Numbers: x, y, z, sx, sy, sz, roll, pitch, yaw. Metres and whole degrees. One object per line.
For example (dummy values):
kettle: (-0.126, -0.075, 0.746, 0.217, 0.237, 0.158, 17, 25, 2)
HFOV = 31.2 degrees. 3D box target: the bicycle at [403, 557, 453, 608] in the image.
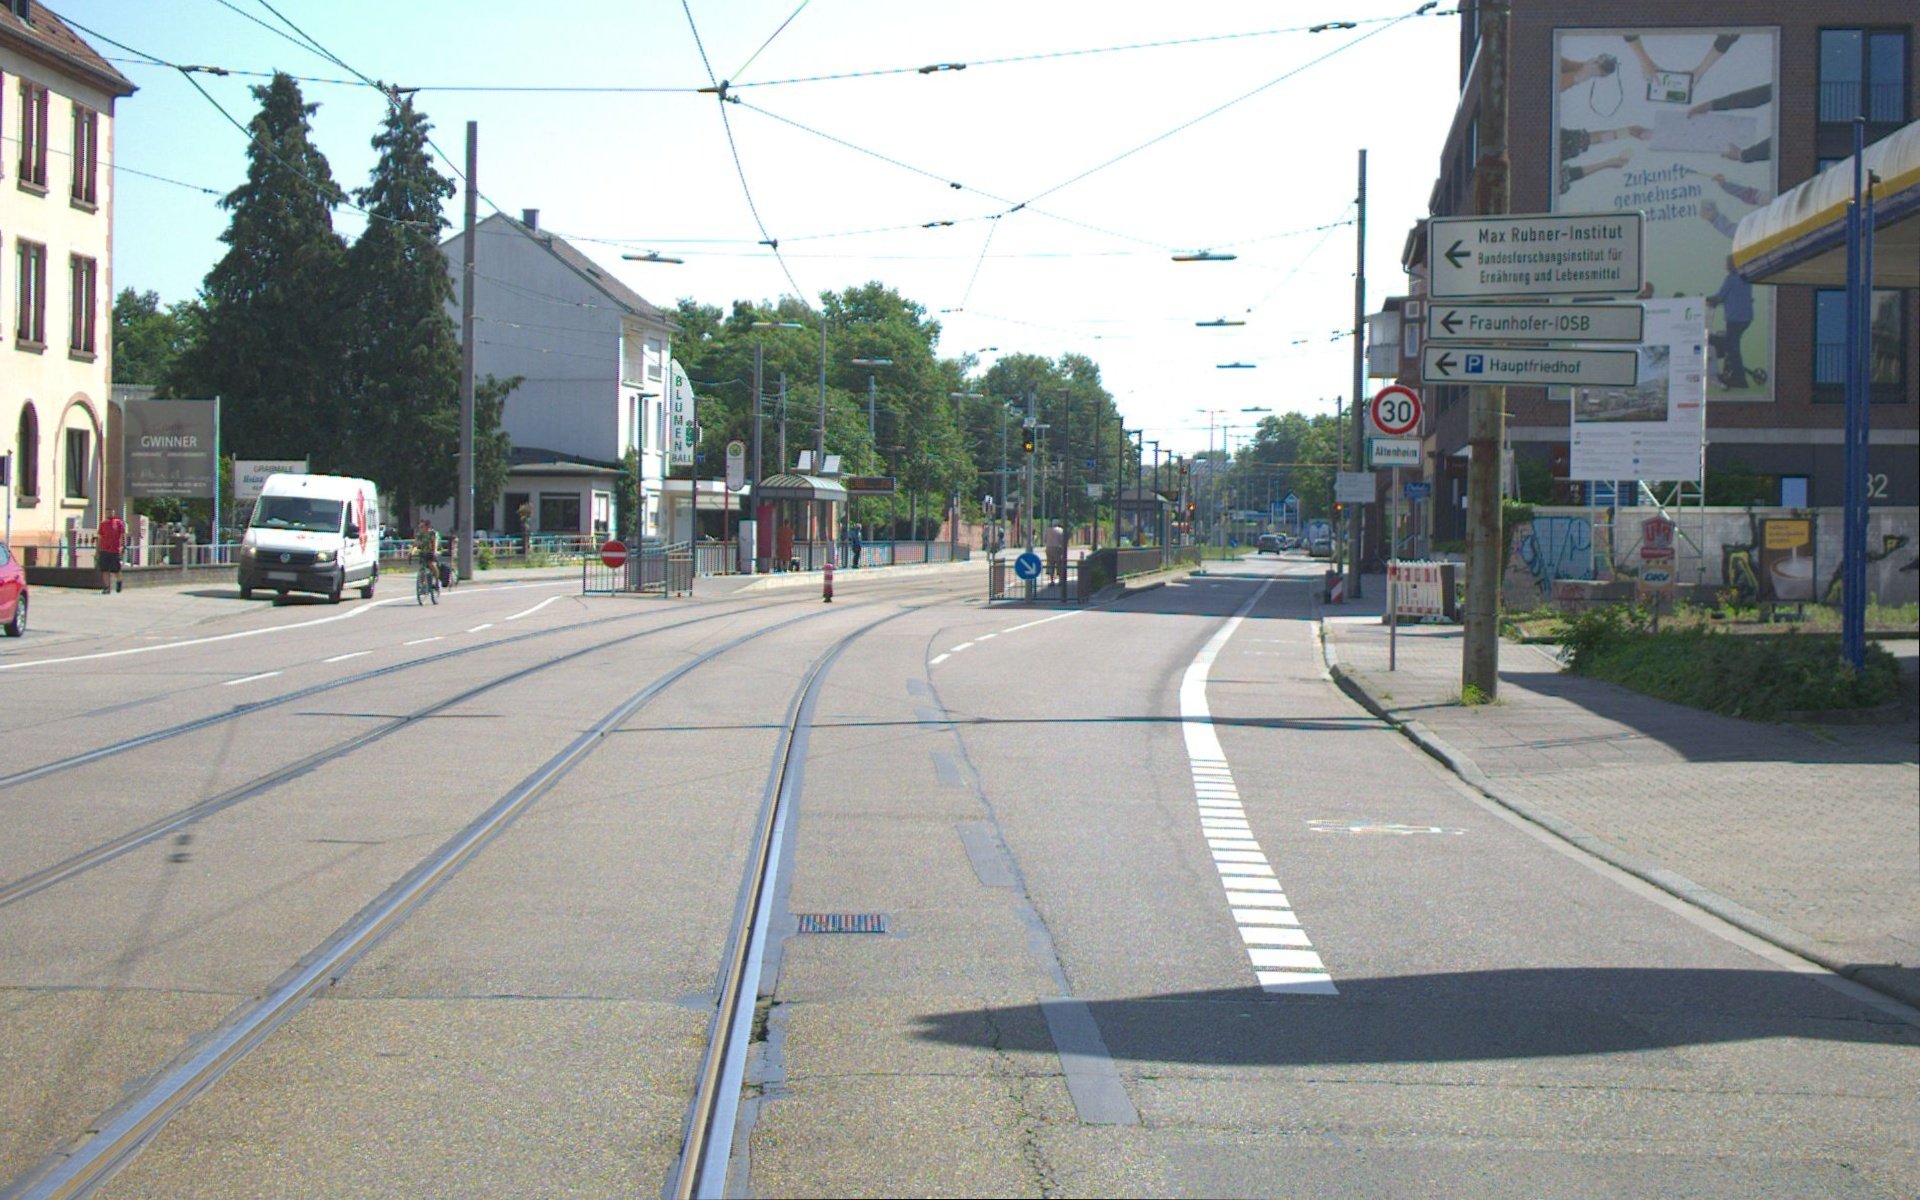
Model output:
bicycle: (-10.412, -0.351, 67.332, 0.608, 0.980, 2.164, 1, 1, 1)

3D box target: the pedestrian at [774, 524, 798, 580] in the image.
pedestrian: (-5.277, -1.459, 104.111, 0.705, 1.684, 0.416, 1, 1, -2)

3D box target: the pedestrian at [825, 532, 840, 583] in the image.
pedestrian: (-4.253, -1.426, 115.038, 0.415, 1.684, 0.708, 1, 1, -8)

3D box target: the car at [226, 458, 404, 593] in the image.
car: (-13.186, -1.519, 70.769, 2.329, 2.527, 6.507, 3, 1, 0)

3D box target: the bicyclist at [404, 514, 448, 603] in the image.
bicyclist: (-10.462, -0.810, 67.358, 0.716, 1.718, 0.988, 1, 1, -2)

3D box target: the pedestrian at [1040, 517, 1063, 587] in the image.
pedestrian: (2.297, -1.210, 86.054, 0.556, 1.754, 0.793, 0, 1, 0)

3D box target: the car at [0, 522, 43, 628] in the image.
car: (-13.901, -0.343, 46.963, 1.720, 1.401, 4.002, 1, 2, -1)

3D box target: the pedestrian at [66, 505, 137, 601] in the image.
pedestrian: (-16.509, -0.912, 66.129, 0.942, 1.809, 1.130, 1, 1, 8)
